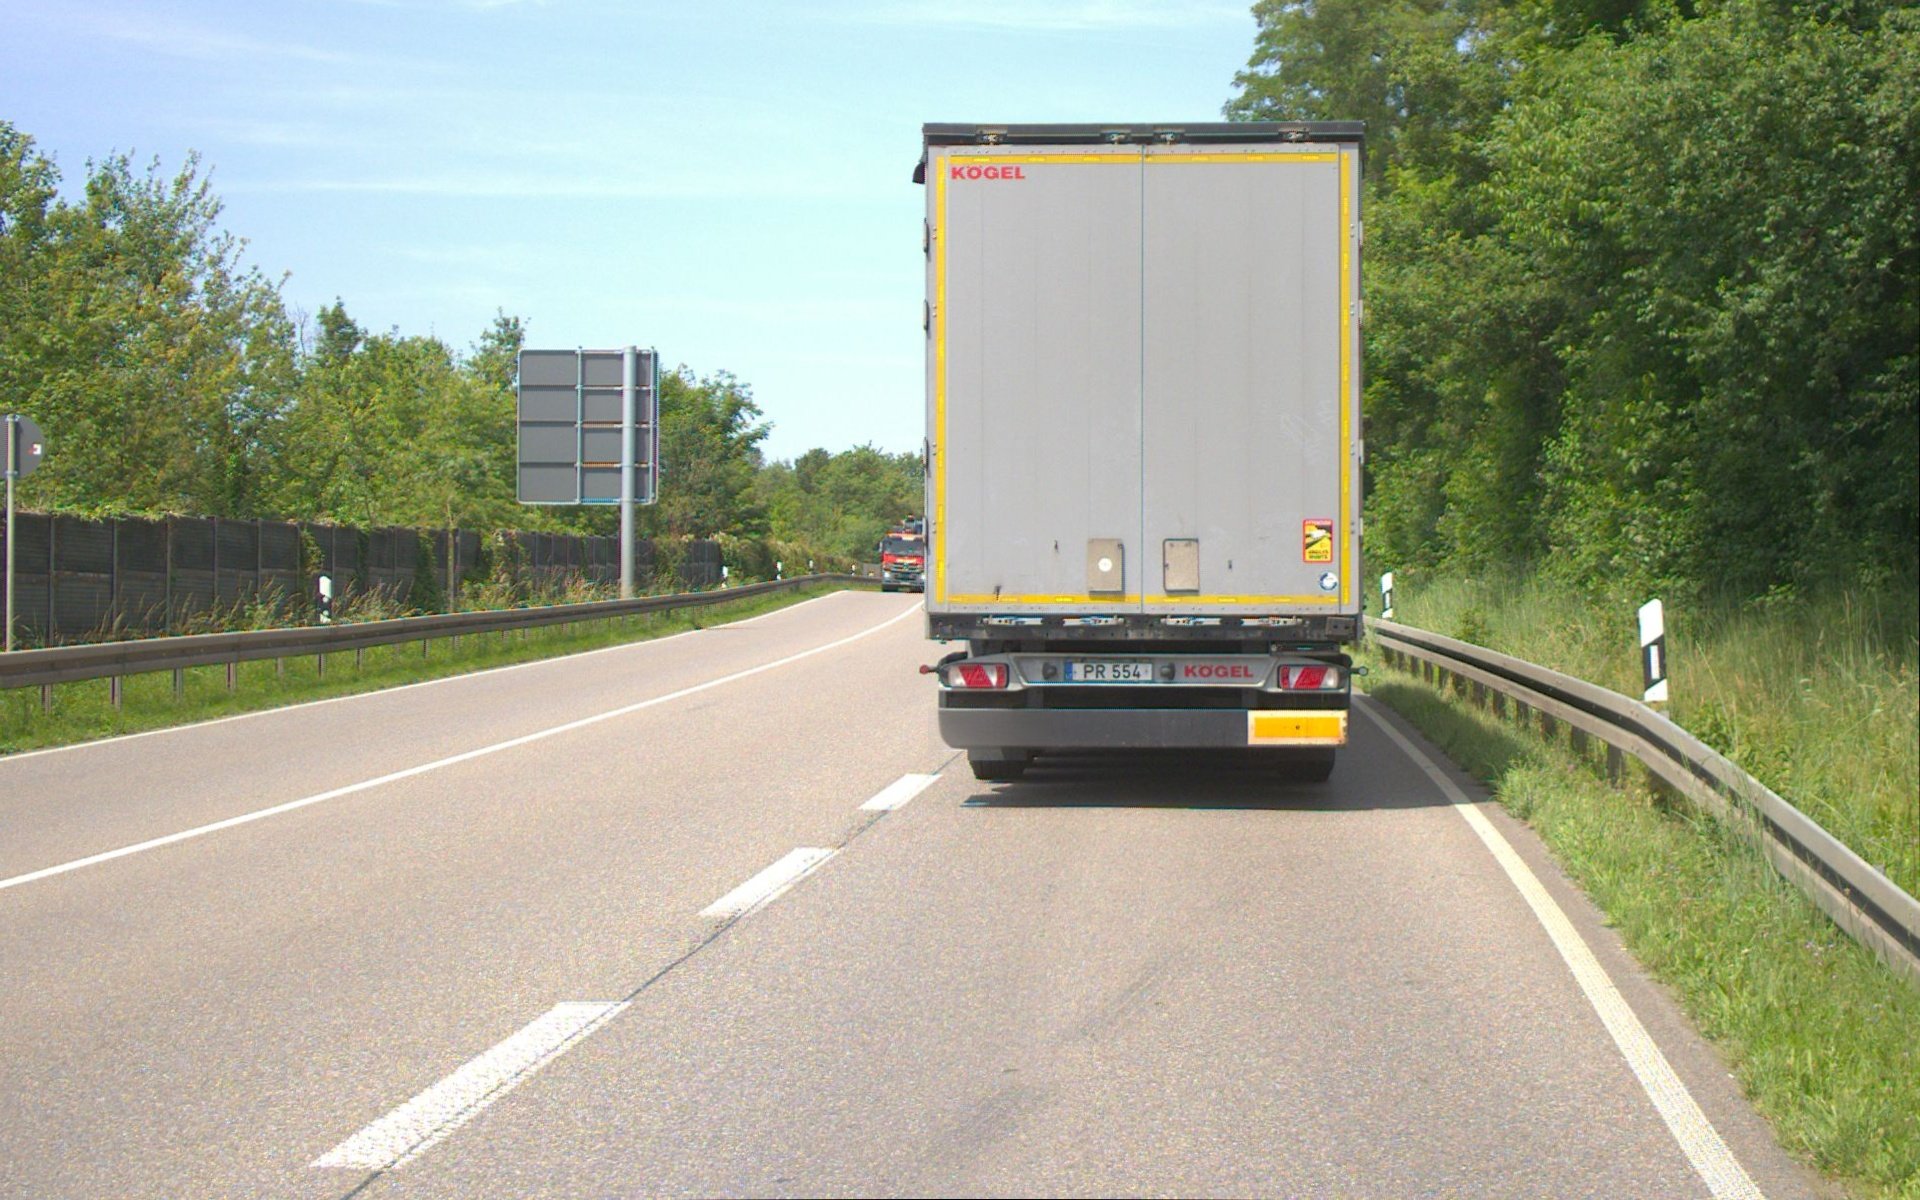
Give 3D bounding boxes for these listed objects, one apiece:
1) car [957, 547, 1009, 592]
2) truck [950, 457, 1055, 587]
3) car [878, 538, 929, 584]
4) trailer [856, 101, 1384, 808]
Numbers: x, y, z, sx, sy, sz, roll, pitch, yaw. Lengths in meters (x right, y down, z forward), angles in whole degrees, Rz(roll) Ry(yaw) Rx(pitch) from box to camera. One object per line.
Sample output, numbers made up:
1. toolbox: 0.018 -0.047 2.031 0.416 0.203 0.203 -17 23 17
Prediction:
1. car: 0.789 -1.049 115.710 1.666 1.481 4.000 0 1 1
2. truck: 1.588 -2.971 134.022 3.828 4.728 16.203 0 1 0
3. car: -3.064 -2.130 185.079 2.615 2.414 5.829 -1 1 -2
4. trailer: 1.592 -0.912 26.363 3.027 4.021 13.349 0 1 6
